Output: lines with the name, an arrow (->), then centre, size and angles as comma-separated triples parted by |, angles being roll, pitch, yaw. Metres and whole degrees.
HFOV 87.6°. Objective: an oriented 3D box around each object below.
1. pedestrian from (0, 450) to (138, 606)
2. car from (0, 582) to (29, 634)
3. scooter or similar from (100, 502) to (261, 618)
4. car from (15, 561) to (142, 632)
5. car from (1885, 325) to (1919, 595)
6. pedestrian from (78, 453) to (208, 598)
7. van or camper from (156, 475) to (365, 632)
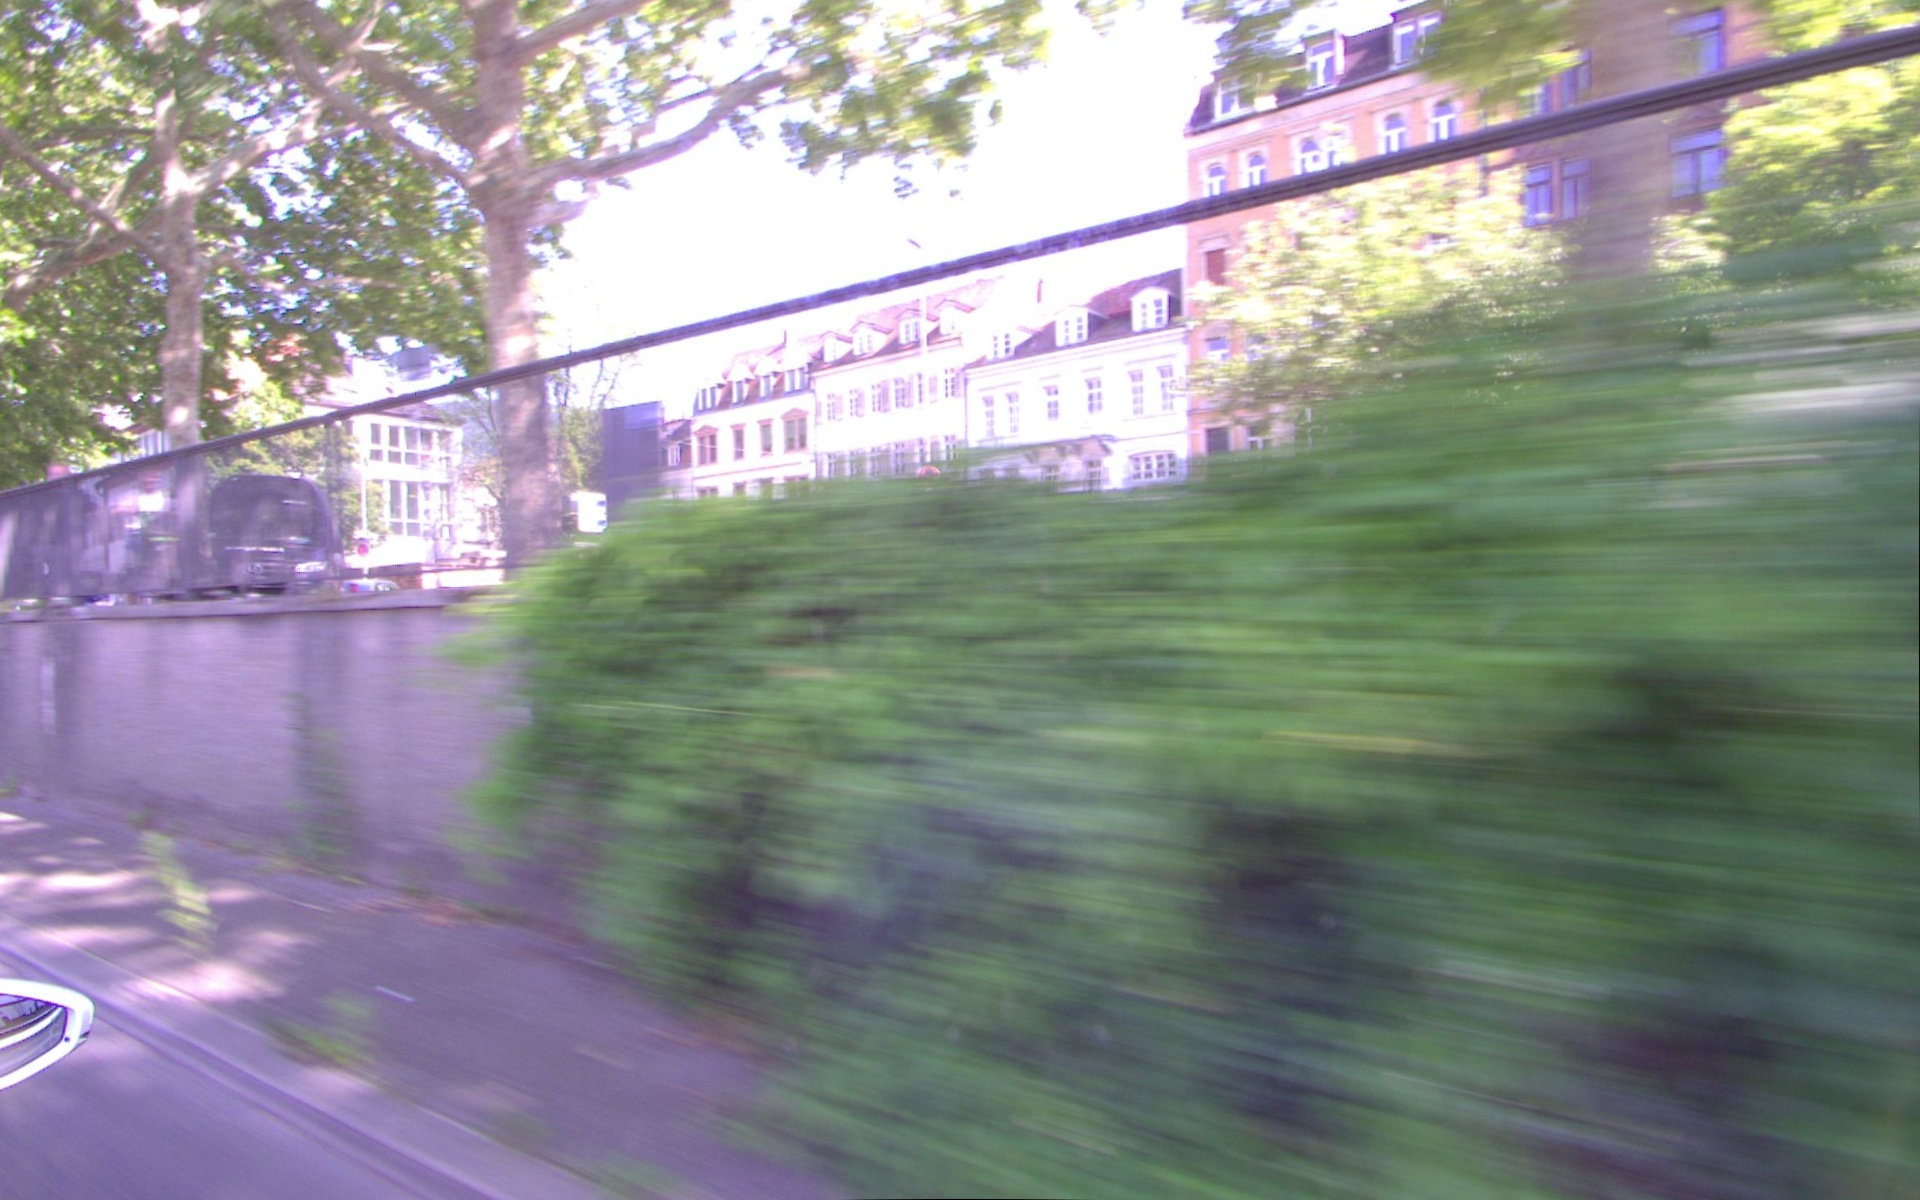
pedestrian -> -9.898, -0.760, 11.029 | 1.012, 1.601, 0.934 | 0, 3, 30
car -> -28.355, 0.236, 28.544 | 1.754, 1.488, 3.981 | 0, -1, -29
scooter or similar -> -7.530, -0.378, 9.689 | 1.091, 1.040, 0.853 | -1, 3, 32
car -> -20.670, -0.030, 23.625 | 1.631, 1.520, 3.796 | 0, -1, -32
car -> 6.144, -0.733, 5.494 | 1.497, 1.252, 3.503 | 0, 3, 42
pedestrian -> -8.339, -0.730, 10.229 | 0.975, 1.384, 0.678 | 0, 3, 32
van or camper -> -12.912, -0.589, 19.054 | 2.311, 2.210, 7.328 | 2, -4, -28
